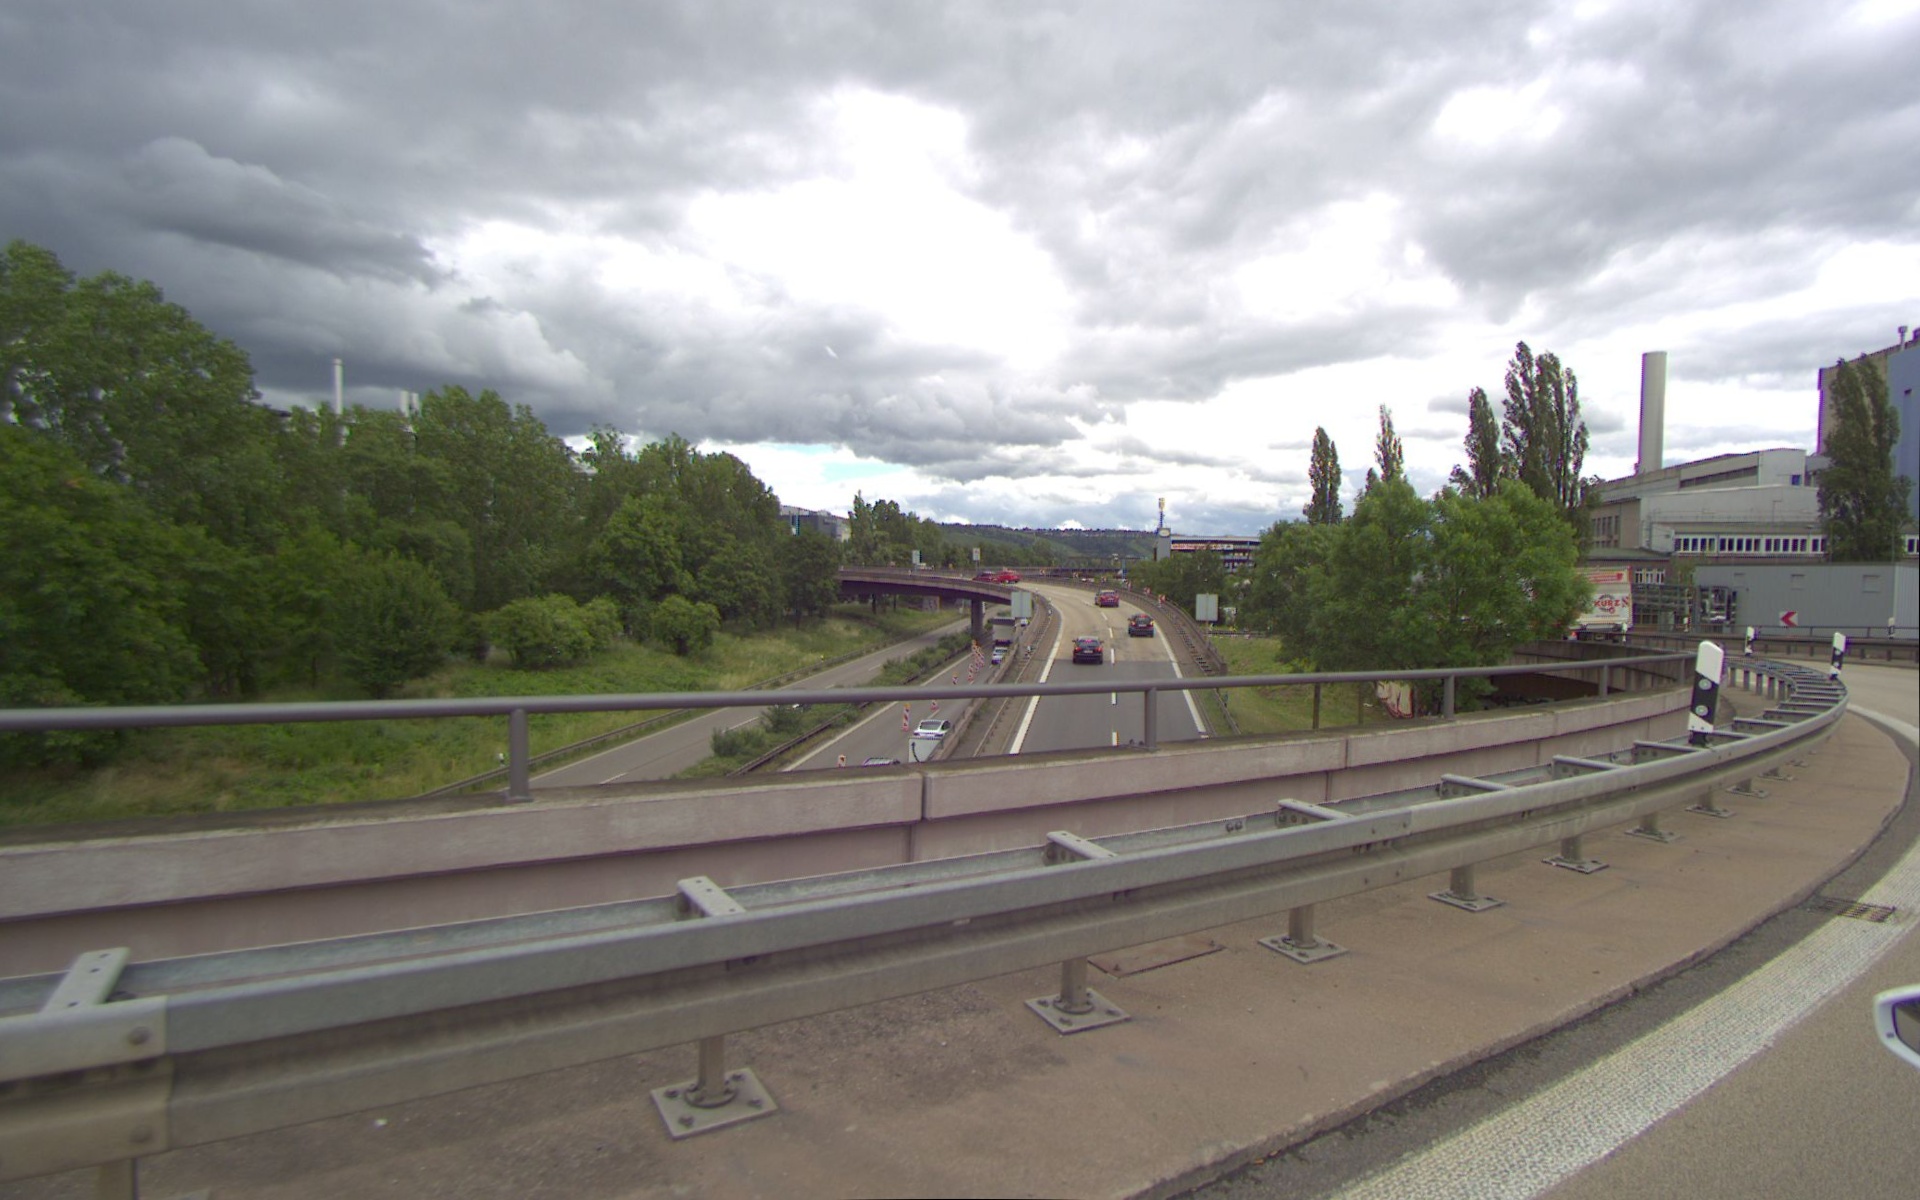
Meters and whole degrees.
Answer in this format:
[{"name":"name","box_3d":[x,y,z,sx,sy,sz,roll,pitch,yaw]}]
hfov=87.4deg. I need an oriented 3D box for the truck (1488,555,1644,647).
[{"name":"truck","box_3d":[26.875,-0.040,45.089,2.999,3.722,7.931,1,1,8]}]
